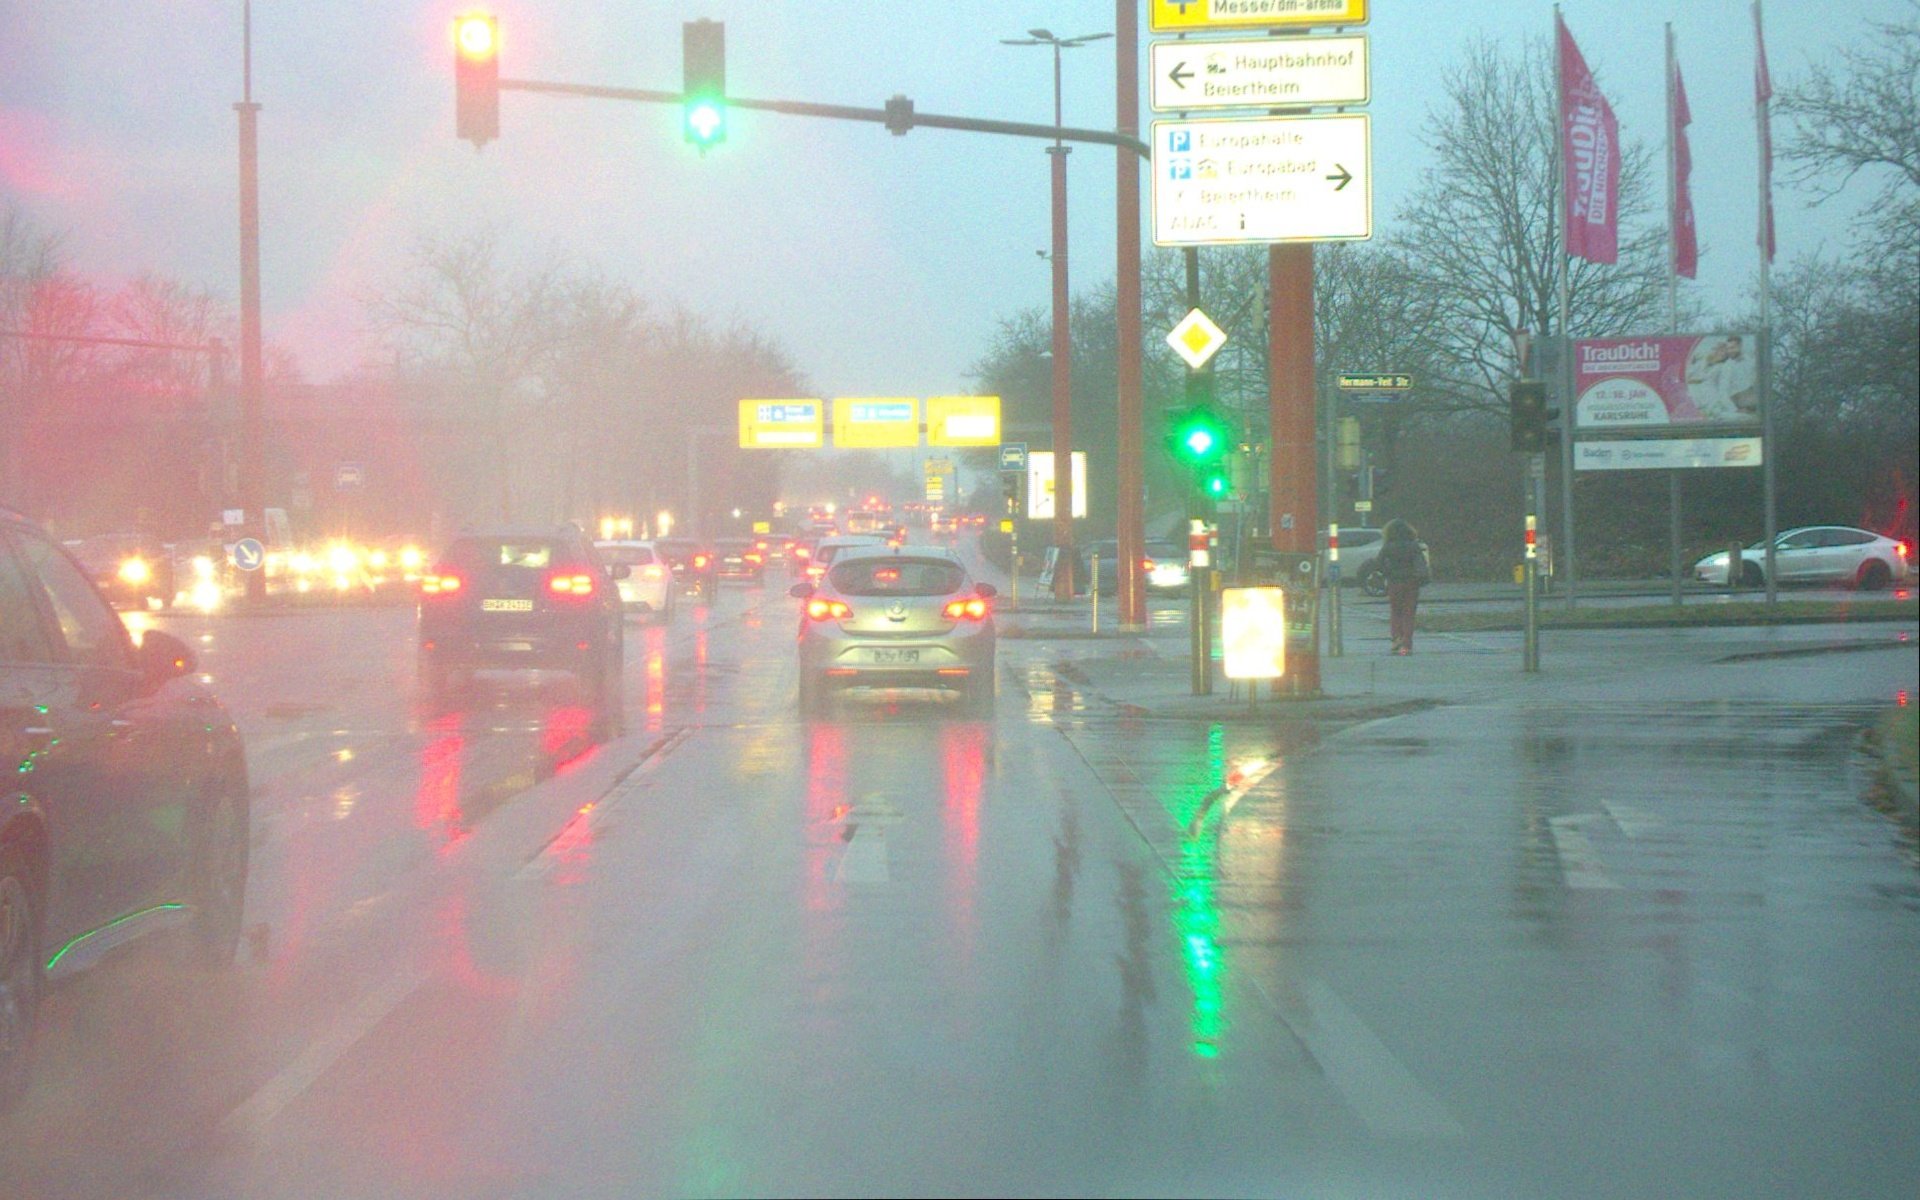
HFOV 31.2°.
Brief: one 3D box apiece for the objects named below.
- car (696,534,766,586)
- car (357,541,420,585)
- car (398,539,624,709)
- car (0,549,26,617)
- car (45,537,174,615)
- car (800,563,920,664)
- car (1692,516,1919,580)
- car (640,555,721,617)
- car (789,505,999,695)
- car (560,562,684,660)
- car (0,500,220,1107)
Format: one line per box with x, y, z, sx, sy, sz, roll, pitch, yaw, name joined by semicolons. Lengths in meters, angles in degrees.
-6.729;-1.190;101.313;1.822;1.499;4.000;0;1;0;car
-21.389;-1.393;128.825;1.770;1.581;4.034;0;1;-2;car
-4.546;0.203;35.323;1.822;1.642;4.000;0;1;0;car
-21.043;-0.353;72.855;1.652;1.415;3.327;0;1;-2;car
-17.926;-0.528;72.594;1.856;1.576;4.080;0;1;-3;car
-1.720;0.216;60.170;1.993;1.656;4.000;1;0;-1;car
18.782;-1.155;76.210;4.739;1.371;1.883;0;1;1;car
-6.225;-0.325;76.820;1.505;1.334;4.000;0;1;0;car
-0.597;-0.037;32.375;1.822;1.642;4.467;-1;1;0;car
-5.942;0.162;60.770;1.822;1.642;4.000;0;1;0;car
-3.519;0.544;9.954;1.822;1.642;4.467;0;1;0;car
